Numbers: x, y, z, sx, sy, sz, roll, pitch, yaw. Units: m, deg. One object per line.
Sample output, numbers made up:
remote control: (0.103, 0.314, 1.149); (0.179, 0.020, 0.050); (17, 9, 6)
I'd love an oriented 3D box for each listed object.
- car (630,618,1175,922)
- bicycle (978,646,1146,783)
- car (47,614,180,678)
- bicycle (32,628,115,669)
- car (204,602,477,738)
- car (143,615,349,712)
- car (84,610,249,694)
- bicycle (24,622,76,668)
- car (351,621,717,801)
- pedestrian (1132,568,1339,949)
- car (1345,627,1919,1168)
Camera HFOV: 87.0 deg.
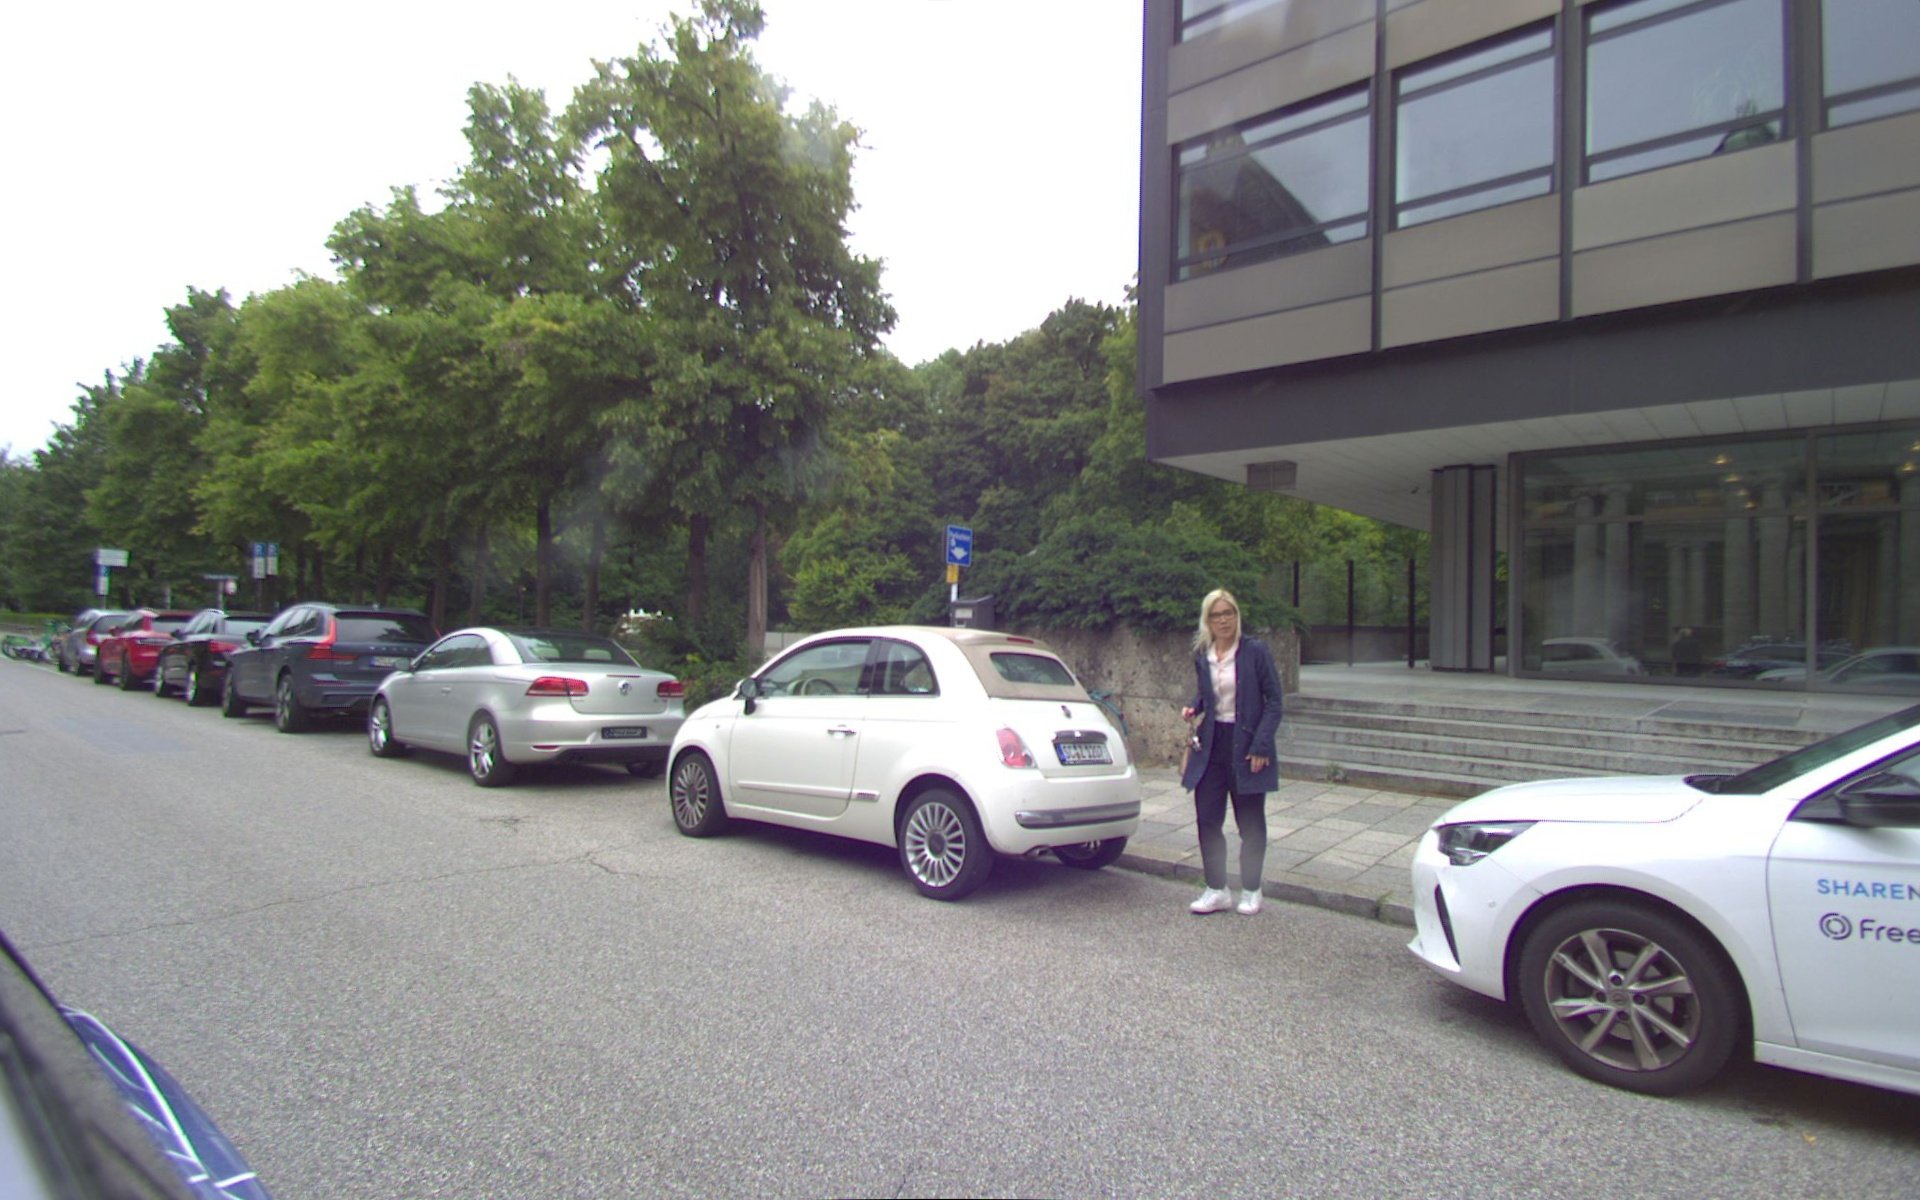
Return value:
car: (-0.533, 0.896, 6.742); (3.551, 1.482, 1.527); (-1, -4, 42)
bicycle: (0.967, 1.060, 9.807); (1.526, 1.173, 0.636); (-1, 0, 40)
car: (-21.292, 1.119, 25.391); (4.364, 1.472, 1.972); (-1, -3, 43)
bicycle: (-25.333, 1.371, 28.950); (0.597, 1.116, 1.681); (0, -1, 33)
car: (-8.740, 0.883, 14.118); (4.520, 1.595, 1.972); (-1, -3, 42)
car: (-12.560, 1.032, 17.681); (4.647, 1.472, 1.972); (-1, -3, 43)
car: (-16.488, 1.032, 20.953); (4.364, 1.555, 1.972); (-1, -3, 43)
bicycle: (-26.701, 1.297, 29.706); (0.566, 1.292, 1.423); (0, -1, -16)
car: (-4.408, 0.981, 10.143); (4.217, 1.411, 1.739); (-1, -5, 43)
pedestrian: (1.453, 0.768, 5.287); (0.690, 1.765, 0.880); (-2, -5, 44)
car: (3.605, 0.875, 3.015); (4.278, 1.451, 1.663); (-1, -5, 42)
